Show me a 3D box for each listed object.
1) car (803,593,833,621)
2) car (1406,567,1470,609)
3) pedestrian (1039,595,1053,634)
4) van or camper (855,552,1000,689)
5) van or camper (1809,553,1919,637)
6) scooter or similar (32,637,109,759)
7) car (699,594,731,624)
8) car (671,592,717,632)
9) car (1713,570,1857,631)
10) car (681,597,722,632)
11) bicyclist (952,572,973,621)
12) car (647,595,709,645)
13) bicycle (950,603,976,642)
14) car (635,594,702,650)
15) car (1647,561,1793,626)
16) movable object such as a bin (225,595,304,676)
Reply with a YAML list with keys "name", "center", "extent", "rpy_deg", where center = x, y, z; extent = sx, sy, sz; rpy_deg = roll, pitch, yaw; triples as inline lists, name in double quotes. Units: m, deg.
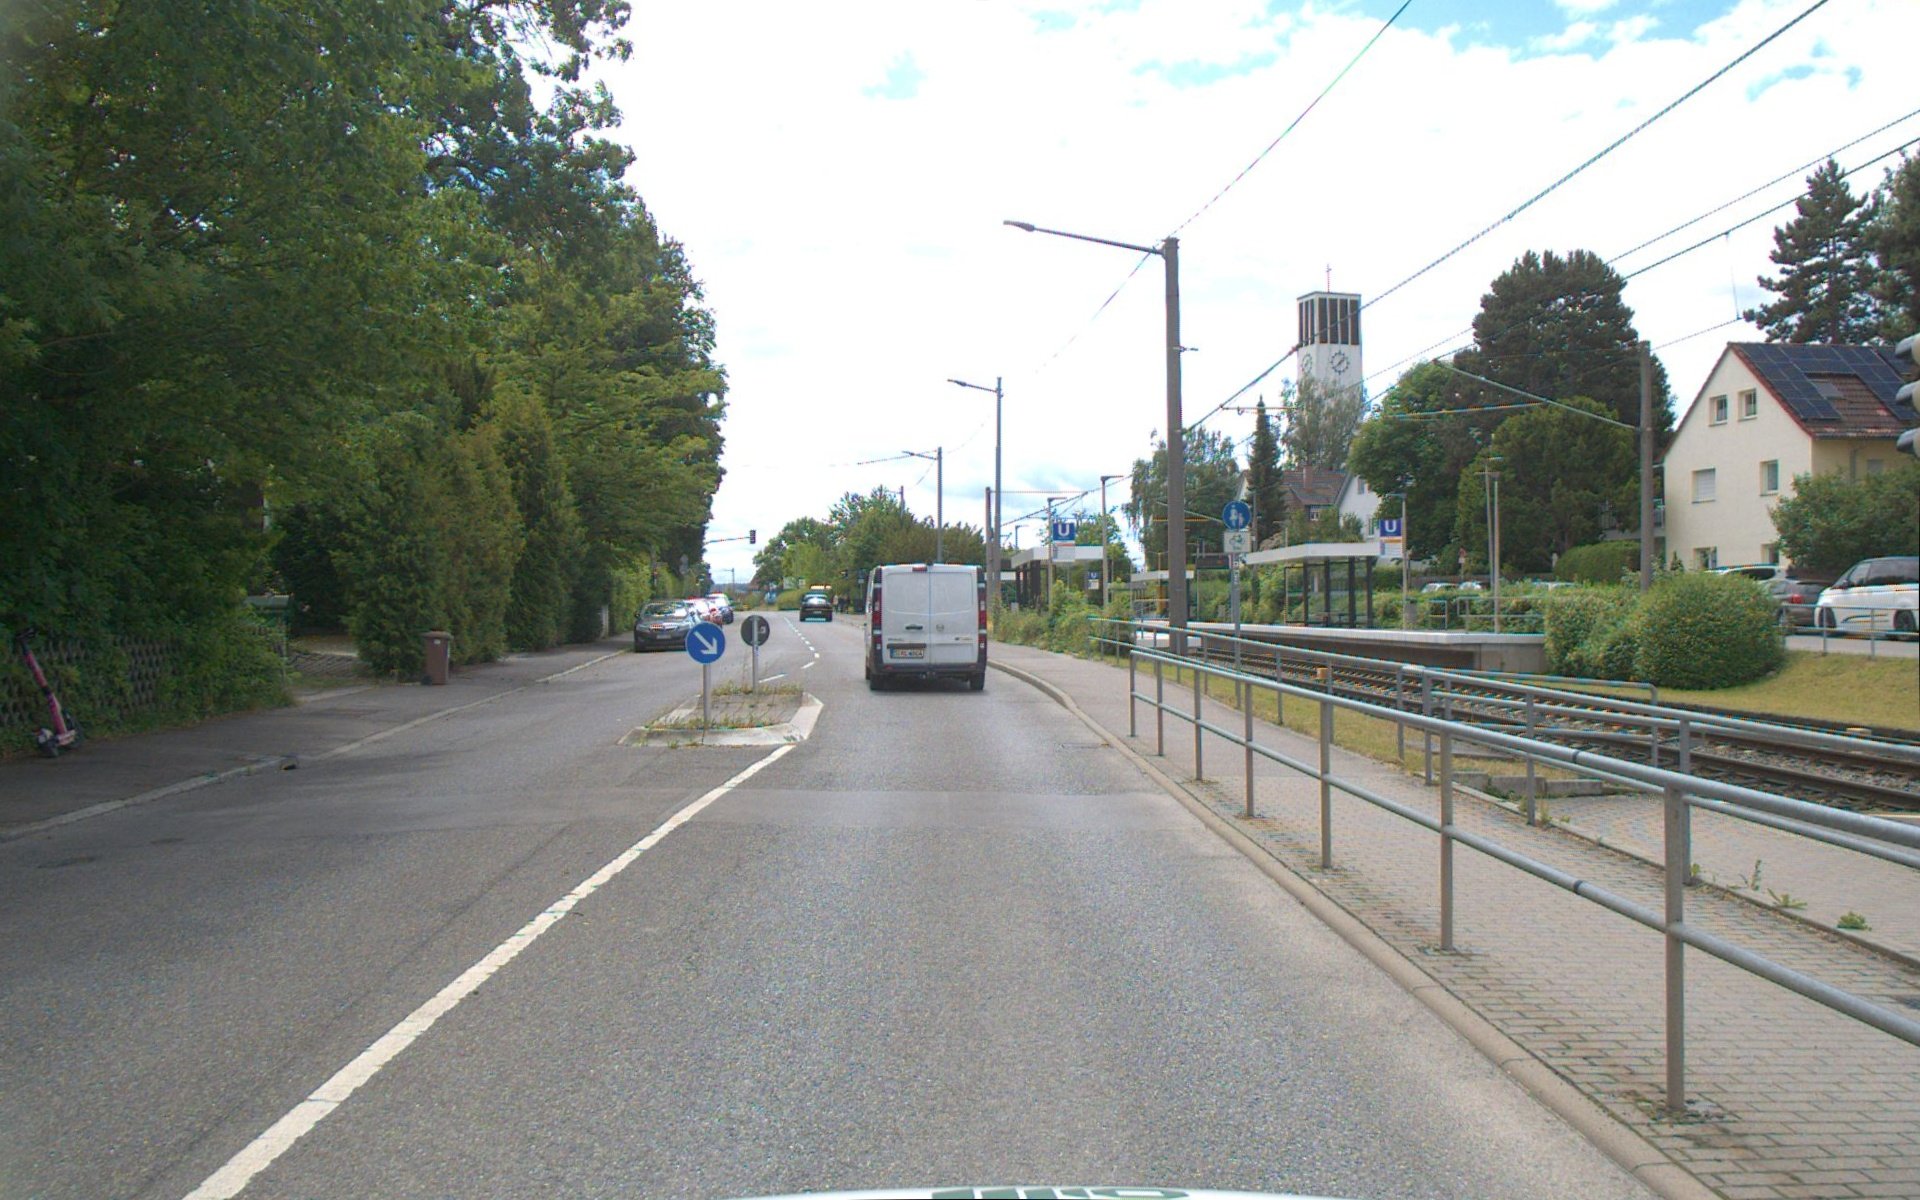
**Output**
- name: "car"
  center: [-8.714, 0.439, 101.667]
  extent: [1.816, 1.677, 3.731]
  rpy_deg: [0, 0, -5]
- name: "car"
  center: [21.278, -0.530, 73.688]
  extent: [1.697, 1.782, 3.934]
  rpy_deg: [0, 0, 0]
- name: "pedestrian"
  center: [3.049, 0.517, 58.365]
  extent: [0.388, 1.367, 0.486]
  rpy_deg: [0, 0, -11]
- name: "van or camper"
  center: [-0.627, 0.338, 27.369]
  extent: [1.955, 2.049, 4.439]
  rpy_deg: [1, -1, -7]
- name: "van or camper"
  center: [22.057, -0.119, 38.493]
  extent: [1.867, 1.858, 5.045]
  rpy_deg: [0, 0, -2]
- name: "scooter or similar"
  center: [-8.582, 0.921, 15.990]
  extent: [0.470, 1.100, 1.207]
  rpy_deg: [1, 0, -20]
- name: "car"
  center: [-14.121, 0.474, 95.380]
  extent: [1.729, 1.654, 4.178]
  rpy_deg: [-1, 0, -8]
- name: "car"
  center: [-10.691, 0.471, 66.651]
  extent: [1.558, 1.531, 3.510]
  rpy_deg: [-2, 0, -6]
- name: "car"
  center: [22.067, 0.015, 44.397]
  extent: [1.845, 1.549, 3.999]
  rpy_deg: [0, 0, -1]
- name: "car"
  center: [-11.521, 0.630, 73.959]
  extent: [1.729, 1.497, 4.178]
  rpy_deg: [-1, 0, -8]
- name: "bicyclist"
  center: [0.075, -0.125, 56.500]
  extent: [0.627, 1.678, 0.817]
  rpy_deg: [0, 0, -7]
- name: "car"
  center: [-9.253, 0.622, 54.516]
  extent: [1.703, 1.531, 3.958]
  rpy_deg: [-2, 0, -6]
- name: "bicycle"
  center: [0.083, 0.751, 56.588]
  extent: [0.606, 1.268, 2.392]
  rpy_deg: [0, 0, -7]
- name: "car"
  center: [-8.596, 0.622, 49.064]
  extent: [1.704, 1.531, 4.470]
  rpy_deg: [-2, 0, -8]
- name: "car"
  center: [26.162, -0.223, 56.998]
  extent: [4.246, 1.977, 1.743]
  rpy_deg: [-3, 0, -8]
- name: "movable object such as a bin"
  center: [-12.677, 0.635, 30.194]
  extent: [1.253, 1.425, 0.894]
  rpy_deg: [0, 0, -19]
